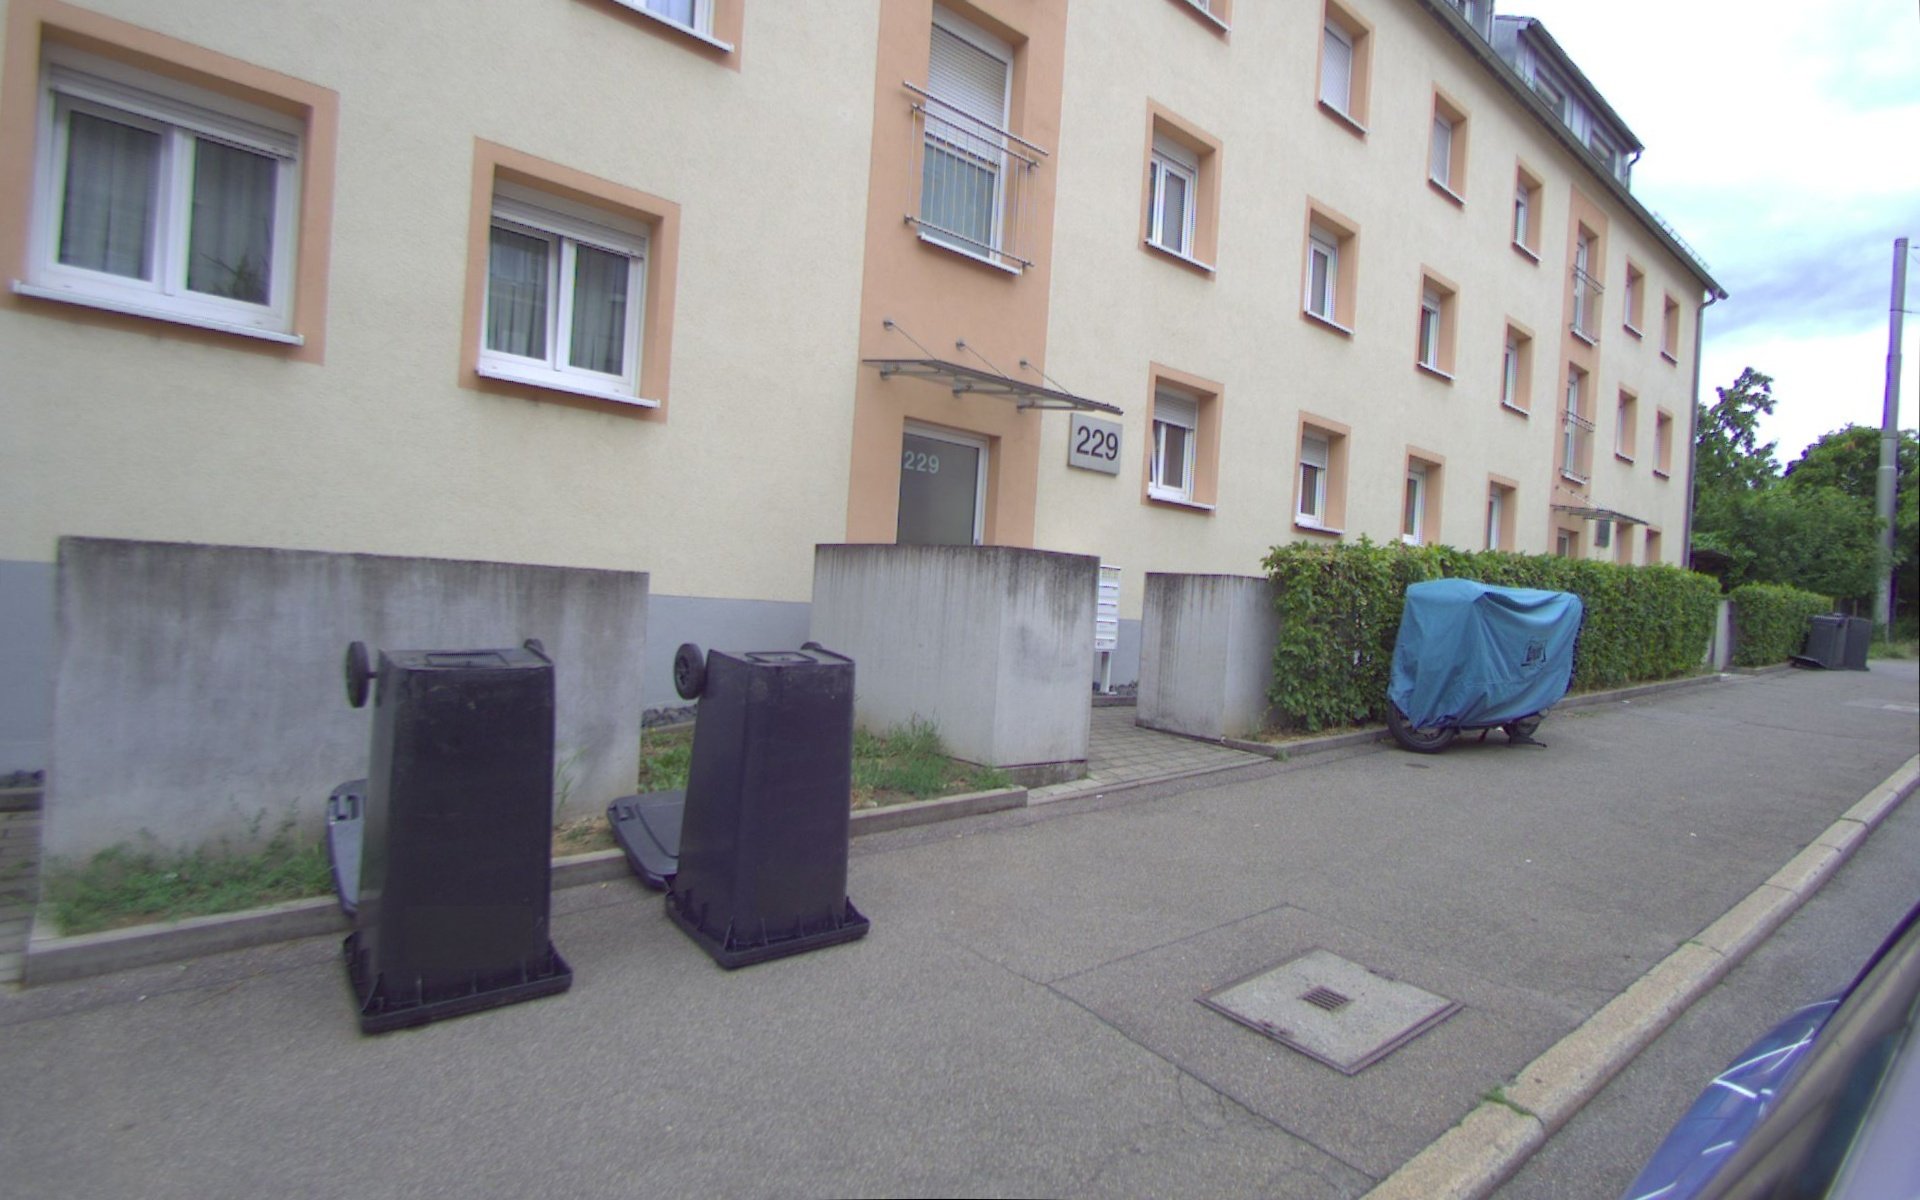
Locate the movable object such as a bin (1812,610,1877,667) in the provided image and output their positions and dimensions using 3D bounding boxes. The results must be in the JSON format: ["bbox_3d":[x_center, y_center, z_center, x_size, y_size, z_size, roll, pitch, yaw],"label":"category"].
[{"bbox_3d":[17.040,0.726,19.495,0.775,1.024,0.794,1,2,-39],"label":"movable object such as a bin"}]

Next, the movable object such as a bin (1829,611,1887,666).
[{"bbox_3d":[17.771,0.745,20.027,0.776,1.024,0.792,0,2,-44],"label":"movable object such as a bin"}]

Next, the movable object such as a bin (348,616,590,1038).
[{"bbox_3d":[-1.513,0.612,3.099,0.531,1.093,0.613,1,1,-39],"label":"movable object such as a bin"}]

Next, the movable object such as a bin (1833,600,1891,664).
[{"bbox_3d":[18.368,0.641,20.608,0.776,1.233,0.792,1,2,-44],"label":"movable object such as a bin"}]

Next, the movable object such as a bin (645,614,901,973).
[{"bbox_3d":[-0.671,0.614,3.614,0.679,1.093,0.590,1,1,-39],"label":"movable object such as a bin"}]

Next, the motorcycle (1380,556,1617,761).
[{"bbox_3d":[4.548,0.415,8.442,2.507,1.474,0.840,0,2,-40],"label":"motorcycle"}]
